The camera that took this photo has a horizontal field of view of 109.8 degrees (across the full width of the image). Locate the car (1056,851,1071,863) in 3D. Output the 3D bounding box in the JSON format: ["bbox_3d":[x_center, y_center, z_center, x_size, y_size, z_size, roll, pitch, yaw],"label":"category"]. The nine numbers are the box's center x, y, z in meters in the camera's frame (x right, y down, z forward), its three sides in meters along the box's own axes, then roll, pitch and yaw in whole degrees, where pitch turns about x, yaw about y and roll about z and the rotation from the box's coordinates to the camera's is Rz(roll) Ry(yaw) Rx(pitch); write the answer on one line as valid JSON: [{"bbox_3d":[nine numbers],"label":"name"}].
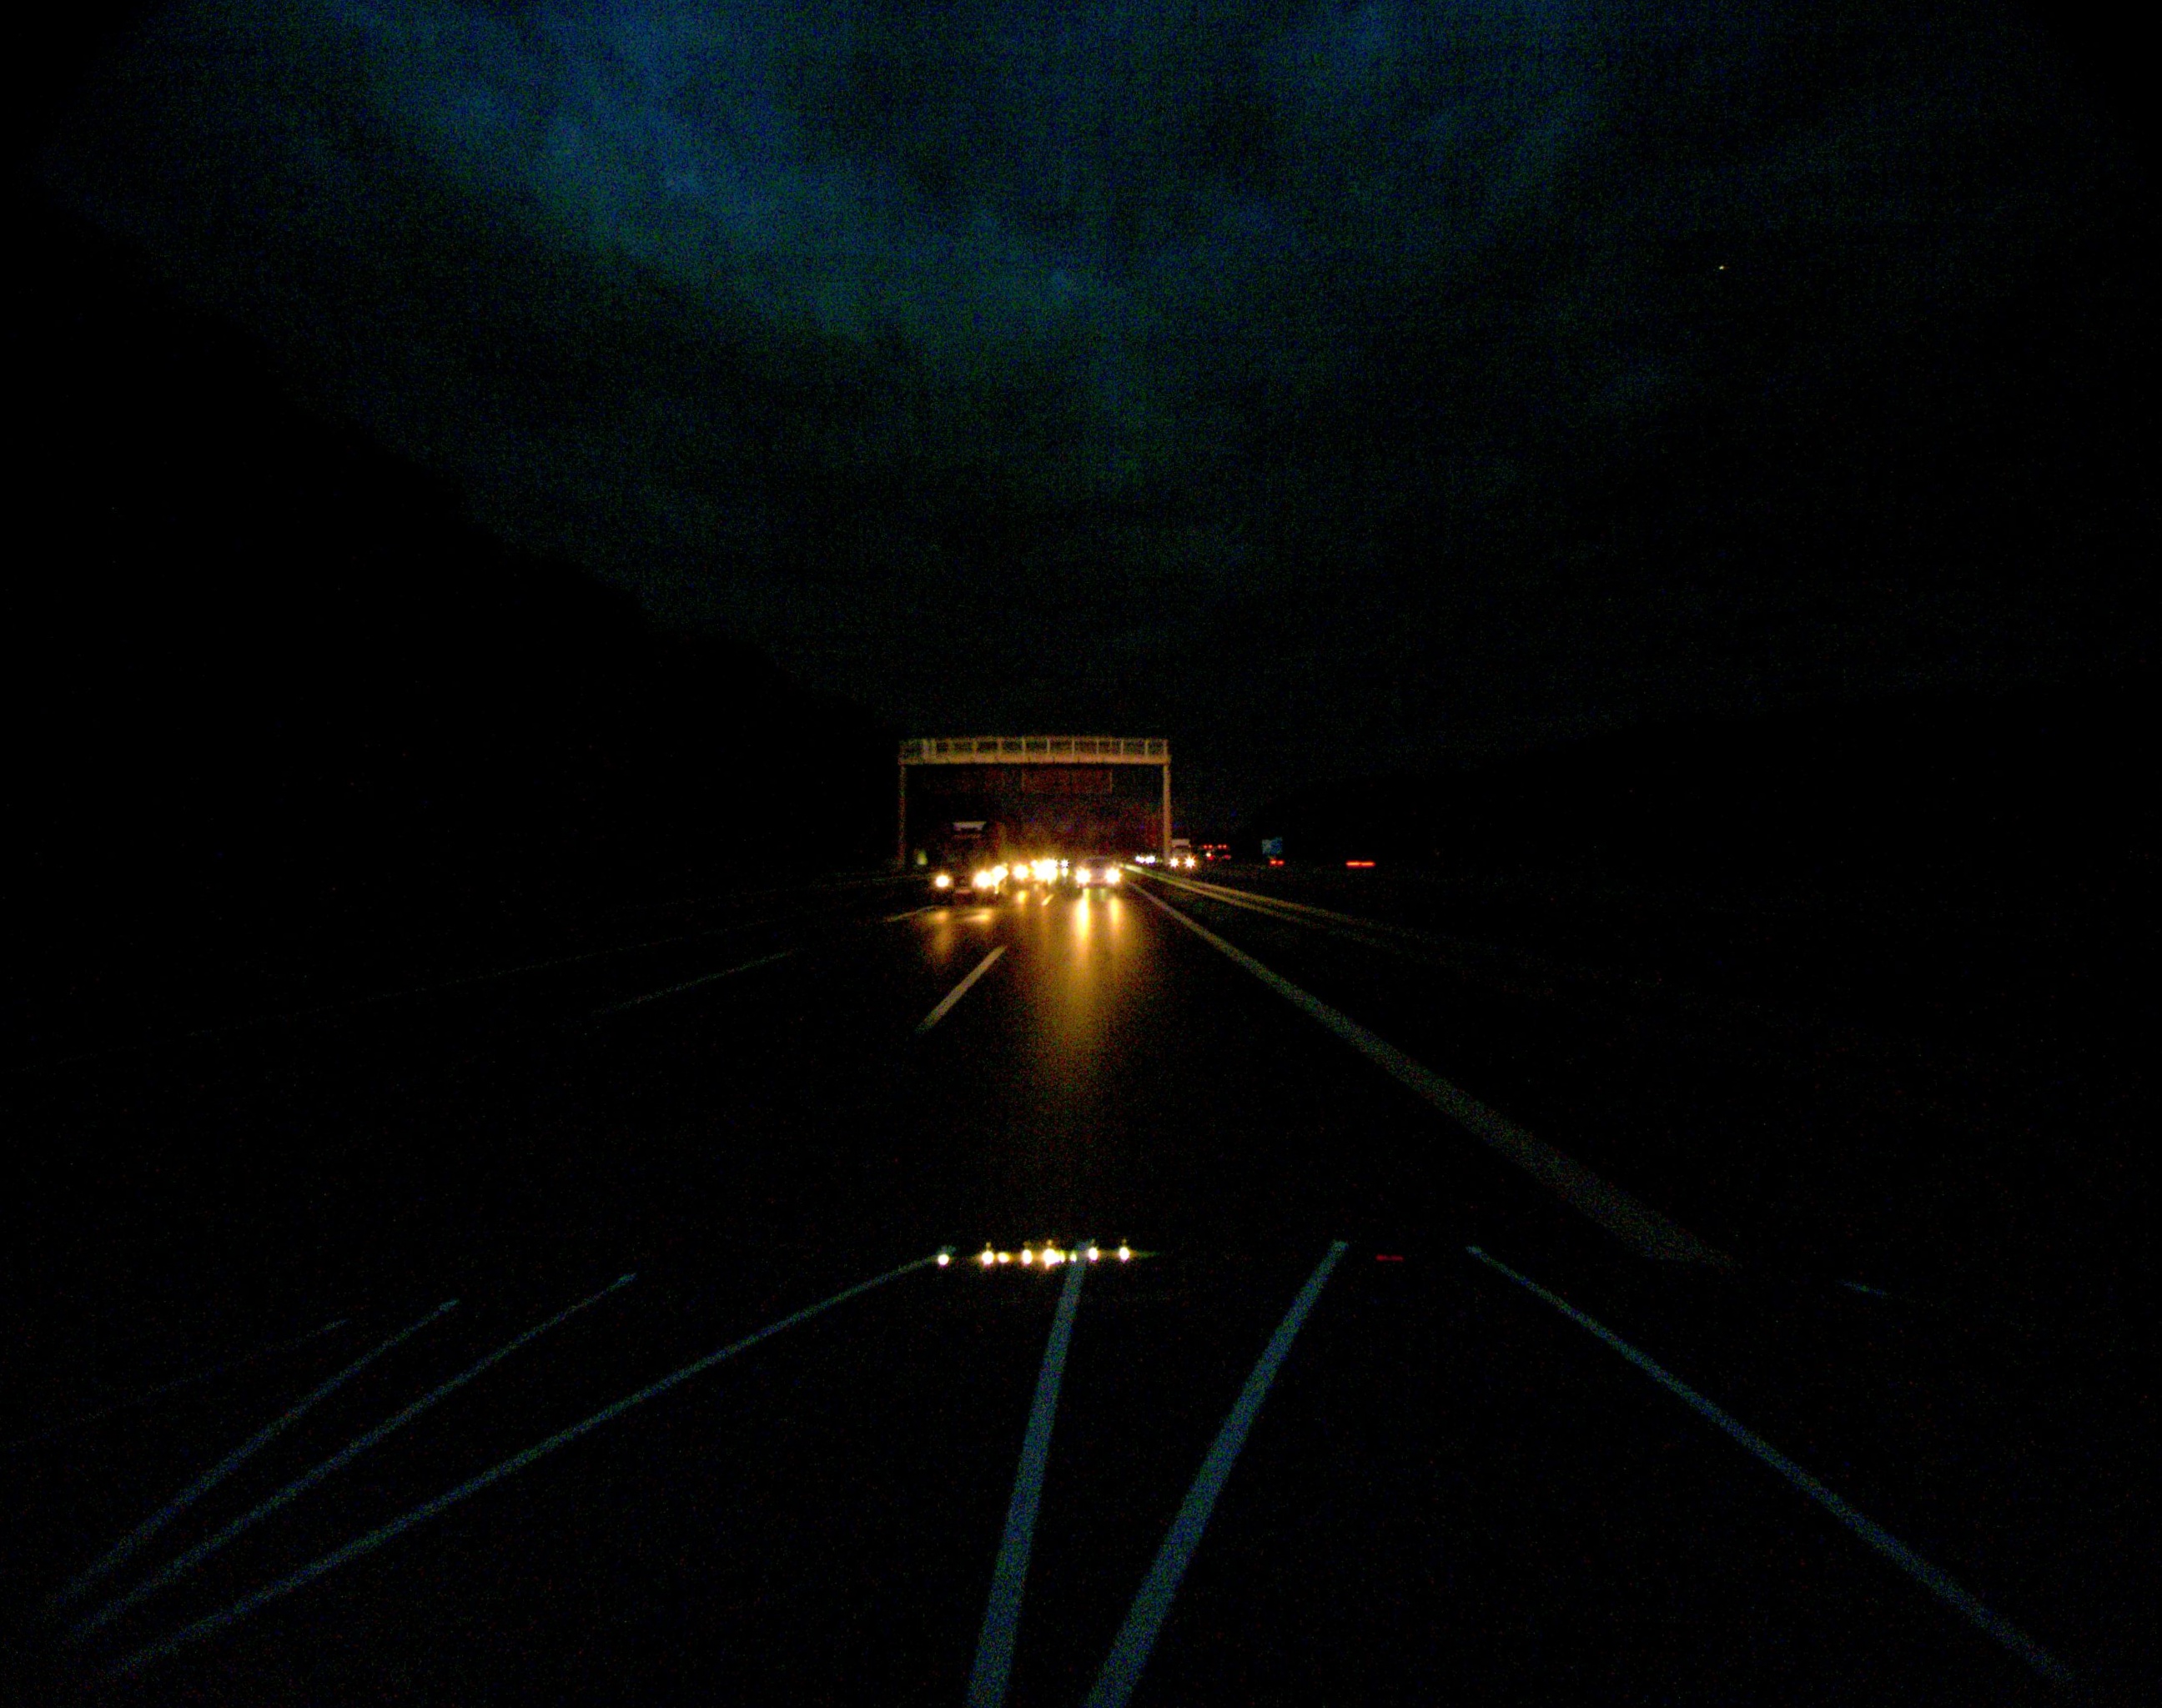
[{"bbox_3d":[-2.368,0.407,101.484,1.803,1.483,5.116,-3,0,-2],"label":"car"}]

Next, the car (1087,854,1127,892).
[{"bbox_3d":[1.126,0.805,33.751,1.669,1.551,3.756,0,0,1],"label":"car"}]

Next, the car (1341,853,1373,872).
[{"bbox_3d":[26.073,0.783,71.786,1.686,1.696,3.752,-1,0,1],"label":"car"}]

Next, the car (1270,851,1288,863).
[{"bbox_3d":[34.978,0.520,134.353,1.998,2.002,4.733,0,1,1],"label":"car"}]

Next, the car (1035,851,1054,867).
[{"bbox_3d":[-3.901,0.504,81.514,1.802,1.636,5.160,1,0,0],"label":"car"}]

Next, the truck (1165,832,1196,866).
[{"bbox_3d":[13.433,-0.700,103.020,3.046,4.276,9.890,0,1,1],"label":"truck"}]

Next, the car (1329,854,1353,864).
[{"bbox_3d":[34.911,0.644,102.003,1.772,1.311,3.892,0,1,-1],"label":"car"}]

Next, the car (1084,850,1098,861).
[{"bbox_3d":[1.494,0.248,115.540,1.803,1.483,4.434,-3,0,-2],"label":"car"}]

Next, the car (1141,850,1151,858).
[{"bbox_3d":[15.172,0.024,177.624,1.833,1.674,4.229,-2,1,1],"label":"car"}]

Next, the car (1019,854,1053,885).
[{"bbox_3d":[-2.391,0.796,41.063,1.614,1.547,3.318,0,1,0],"label":"car"}]

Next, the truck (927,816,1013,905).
[{"bbox_3d":[-4.072,0.212,29.210,2.274,2.954,6.631,-2,0,0],"label":"truck"}]
